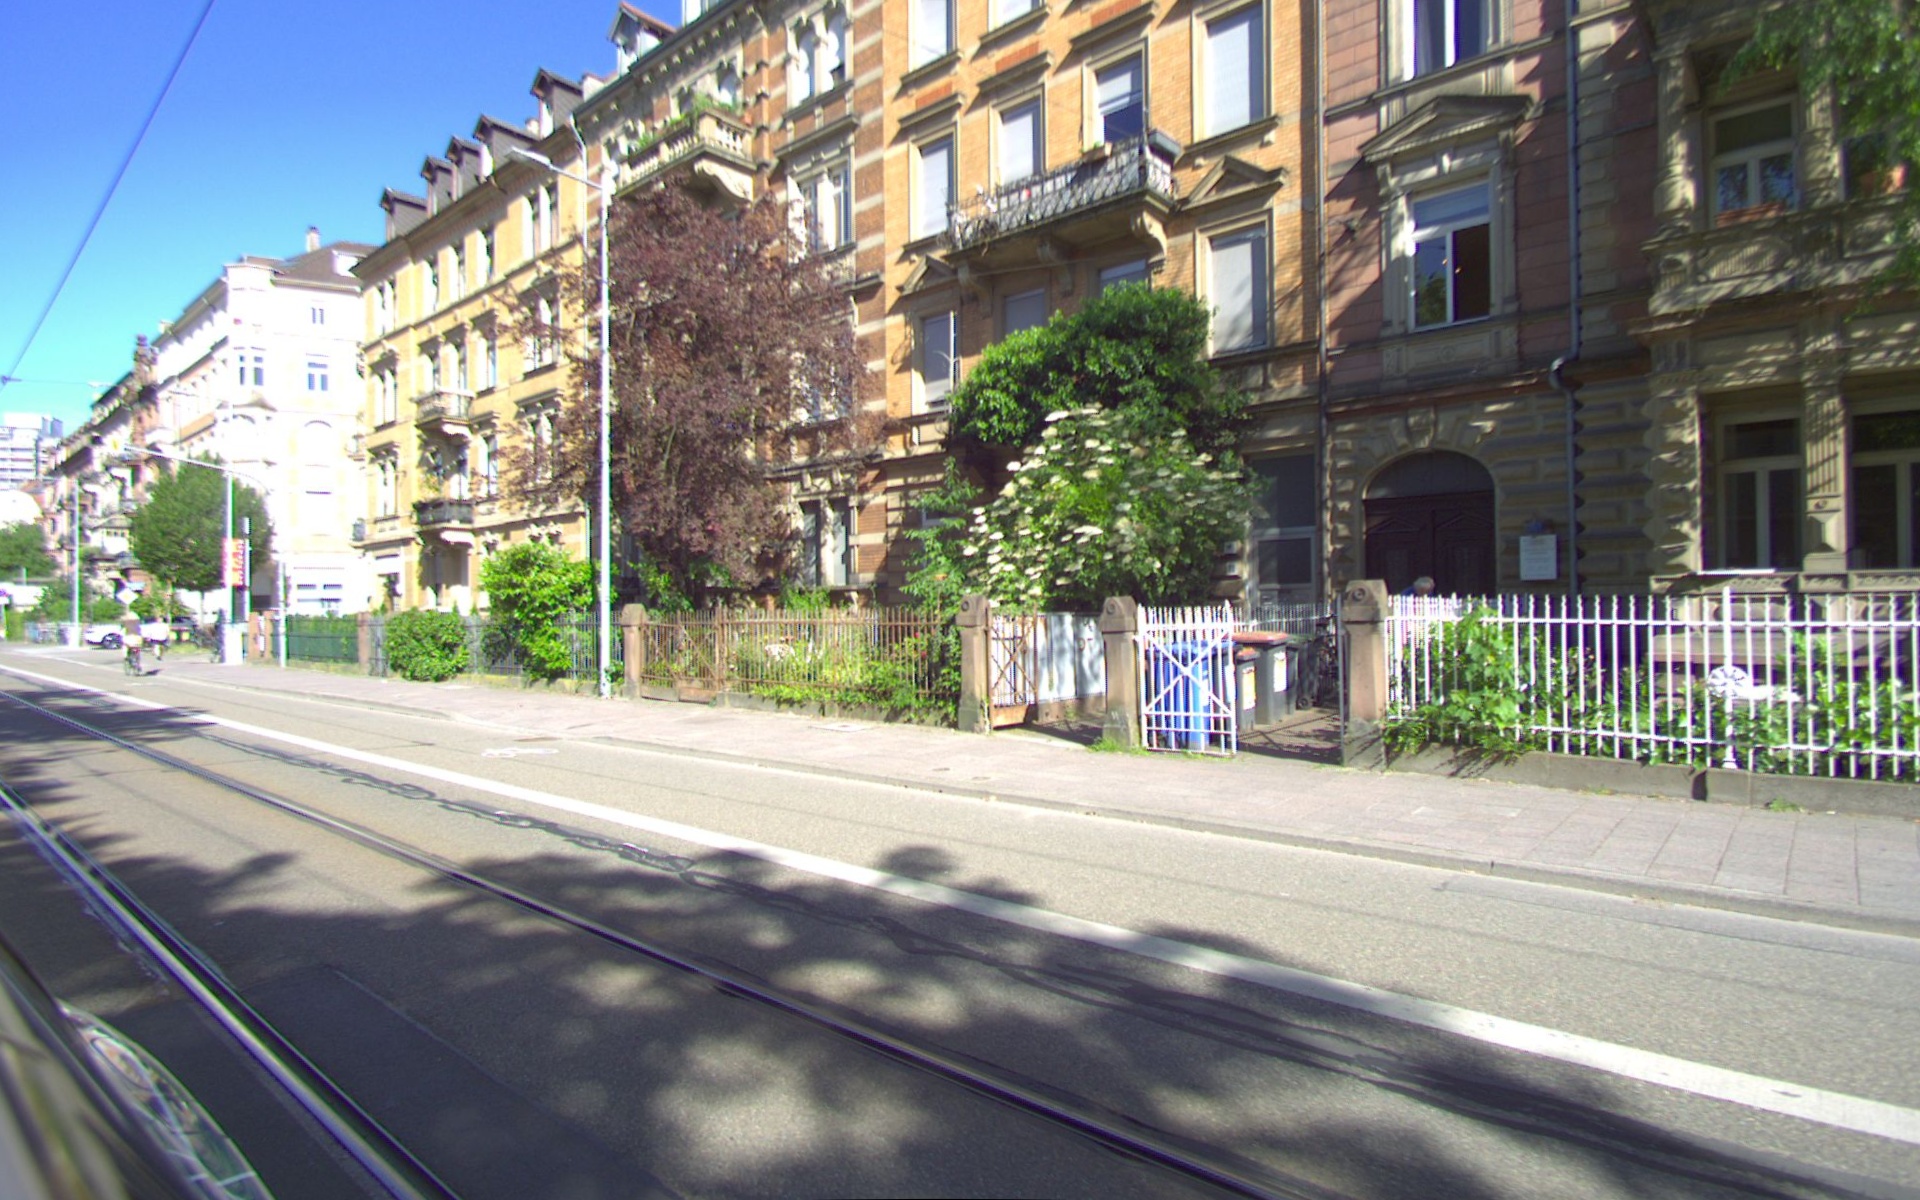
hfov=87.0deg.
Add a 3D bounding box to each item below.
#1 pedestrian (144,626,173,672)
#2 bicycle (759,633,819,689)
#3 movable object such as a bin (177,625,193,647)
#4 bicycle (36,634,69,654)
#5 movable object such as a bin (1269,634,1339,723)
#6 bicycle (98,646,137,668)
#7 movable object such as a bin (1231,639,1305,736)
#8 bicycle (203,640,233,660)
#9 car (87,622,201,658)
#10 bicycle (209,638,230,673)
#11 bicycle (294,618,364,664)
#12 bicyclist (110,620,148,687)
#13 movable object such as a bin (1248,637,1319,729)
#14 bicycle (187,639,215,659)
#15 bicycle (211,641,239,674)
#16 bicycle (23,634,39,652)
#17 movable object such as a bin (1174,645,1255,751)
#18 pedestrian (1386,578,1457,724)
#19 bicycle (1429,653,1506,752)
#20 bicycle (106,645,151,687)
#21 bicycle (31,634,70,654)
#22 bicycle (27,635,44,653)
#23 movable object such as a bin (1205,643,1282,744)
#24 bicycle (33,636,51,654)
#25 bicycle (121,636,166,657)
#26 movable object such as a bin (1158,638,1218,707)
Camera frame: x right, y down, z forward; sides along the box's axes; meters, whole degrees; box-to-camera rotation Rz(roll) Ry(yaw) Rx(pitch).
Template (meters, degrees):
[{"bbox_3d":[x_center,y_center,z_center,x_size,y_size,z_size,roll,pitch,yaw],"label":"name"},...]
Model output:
[{"bbox_3d":[-31.323,1.906,39.553,0.818,1.736,1.085,-1,0,-37],"label":"pedestrian"},{"bbox_3d":[-3.189,1.122,18.943,1.134,0.979,0.295,-1,0,-45],"label":"bicycle"},{"bbox_3d":[-38.648,1.796,50.490,0.568,1.079,0.718,-1,0,-35],"label":"movable object such as a bin"},{"bbox_3d":[-51.921,2.519,57.905,1.752,1.041,0.562,-3,2,17],"label":"bicycle"},{"bbox_3d":[4.382,0.981,12.899,0.619,1.062,0.658,-2,0,41],"label":"movable object such as a bin"},{"bbox_3d":[-37.804,2.549,45.408,0.613,0.921,1.292,0,0,5],"label":"bicycle"},{"bbox_3d":[3.605,1.001,11.836,0.619,1.062,0.579,-2,0,41],"label":"movable object such as a bin"},{"bbox_3d":[-37.628,2.511,51.331,0.244,0.921,1.540,0,0,5],"label":"bicycle"},{"bbox_3d":[-42.469,2.021,52.734,1.967,1.656,4.396,-1,0,44],"label":"car"},{"bbox_3d":[-24.637,1.832,33.672,0.808,1.135,0.367,-2,0,42],"label":"bicycle"},{"bbox_3d":[-19.695,1.268,31.609,0.612,1.330,1.749,-2,0,32],"label":"bicycle"},{"bbox_3d":[-23.168,1.487,28.210,0.615,1.815,0.653,-1,-3,41],"label":"bicyclist"},{"bbox_3d":[3.963,0.992,12.396,0.619,1.062,0.579,-2,0,41],"label":"movable object such as a bin"},{"bbox_3d":[-36.828,2.381,49.115,0.611,0.921,1.297,0,0,-11],"label":"bicycle"},{"bbox_3d":[-23.587,1.828,32.462,1.869,1.008,0.331,-2,0,42],"label":"bicycle"},{"bbox_3d":[-59.079,2.736,64.374,1.767,1.041,0.557,-3,-1,42],"label":"bicycle"},{"bbox_3d":[2.724,1.025,10.837,0.619,1.062,0.579,-2,0,41],"label":"movable object such as a bin"},{"bbox_3d":[5.505,0.592,12.066,0.607,1.686,0.508,-2,0,41],"label":"pedestrian"},{"bbox_3d":[5.993,1.173,11.921,0.424,1.020,1.445,-2,0,42],"label":"bicycle"},{"bbox_3d":[-23.250,1.831,28.282,1.718,1.121,0.684,-2,-3,42],"label":"bicycle"},{"bbox_3d":[-50.948,2.453,56.683,1.745,1.041,0.564,-3,-1,5],"label":"bicycle"},{"bbox_3d":[-56.310,2.677,61.651,1.766,1.041,0.557,-2,0,41],"label":"bicycle"},{"bbox_3d":[3.169,1.023,11.307,0.619,1.062,0.579,-2,0,41],"label":"movable object such as a bin"},{"bbox_3d":[-54.474,2.678,60.022,1.766,1.041,0.557,-2,0,41],"label":"bicycle"},{"bbox_3d":[-39.561,2.255,49.060,0.613,0.921,1.785,0,0,5],"label":"bicycle"},{"bbox_3d":[3.276,1.027,14.508,0.604,0.910,0.580,-2,2,41],"label":"movable object such as a bin"}]
